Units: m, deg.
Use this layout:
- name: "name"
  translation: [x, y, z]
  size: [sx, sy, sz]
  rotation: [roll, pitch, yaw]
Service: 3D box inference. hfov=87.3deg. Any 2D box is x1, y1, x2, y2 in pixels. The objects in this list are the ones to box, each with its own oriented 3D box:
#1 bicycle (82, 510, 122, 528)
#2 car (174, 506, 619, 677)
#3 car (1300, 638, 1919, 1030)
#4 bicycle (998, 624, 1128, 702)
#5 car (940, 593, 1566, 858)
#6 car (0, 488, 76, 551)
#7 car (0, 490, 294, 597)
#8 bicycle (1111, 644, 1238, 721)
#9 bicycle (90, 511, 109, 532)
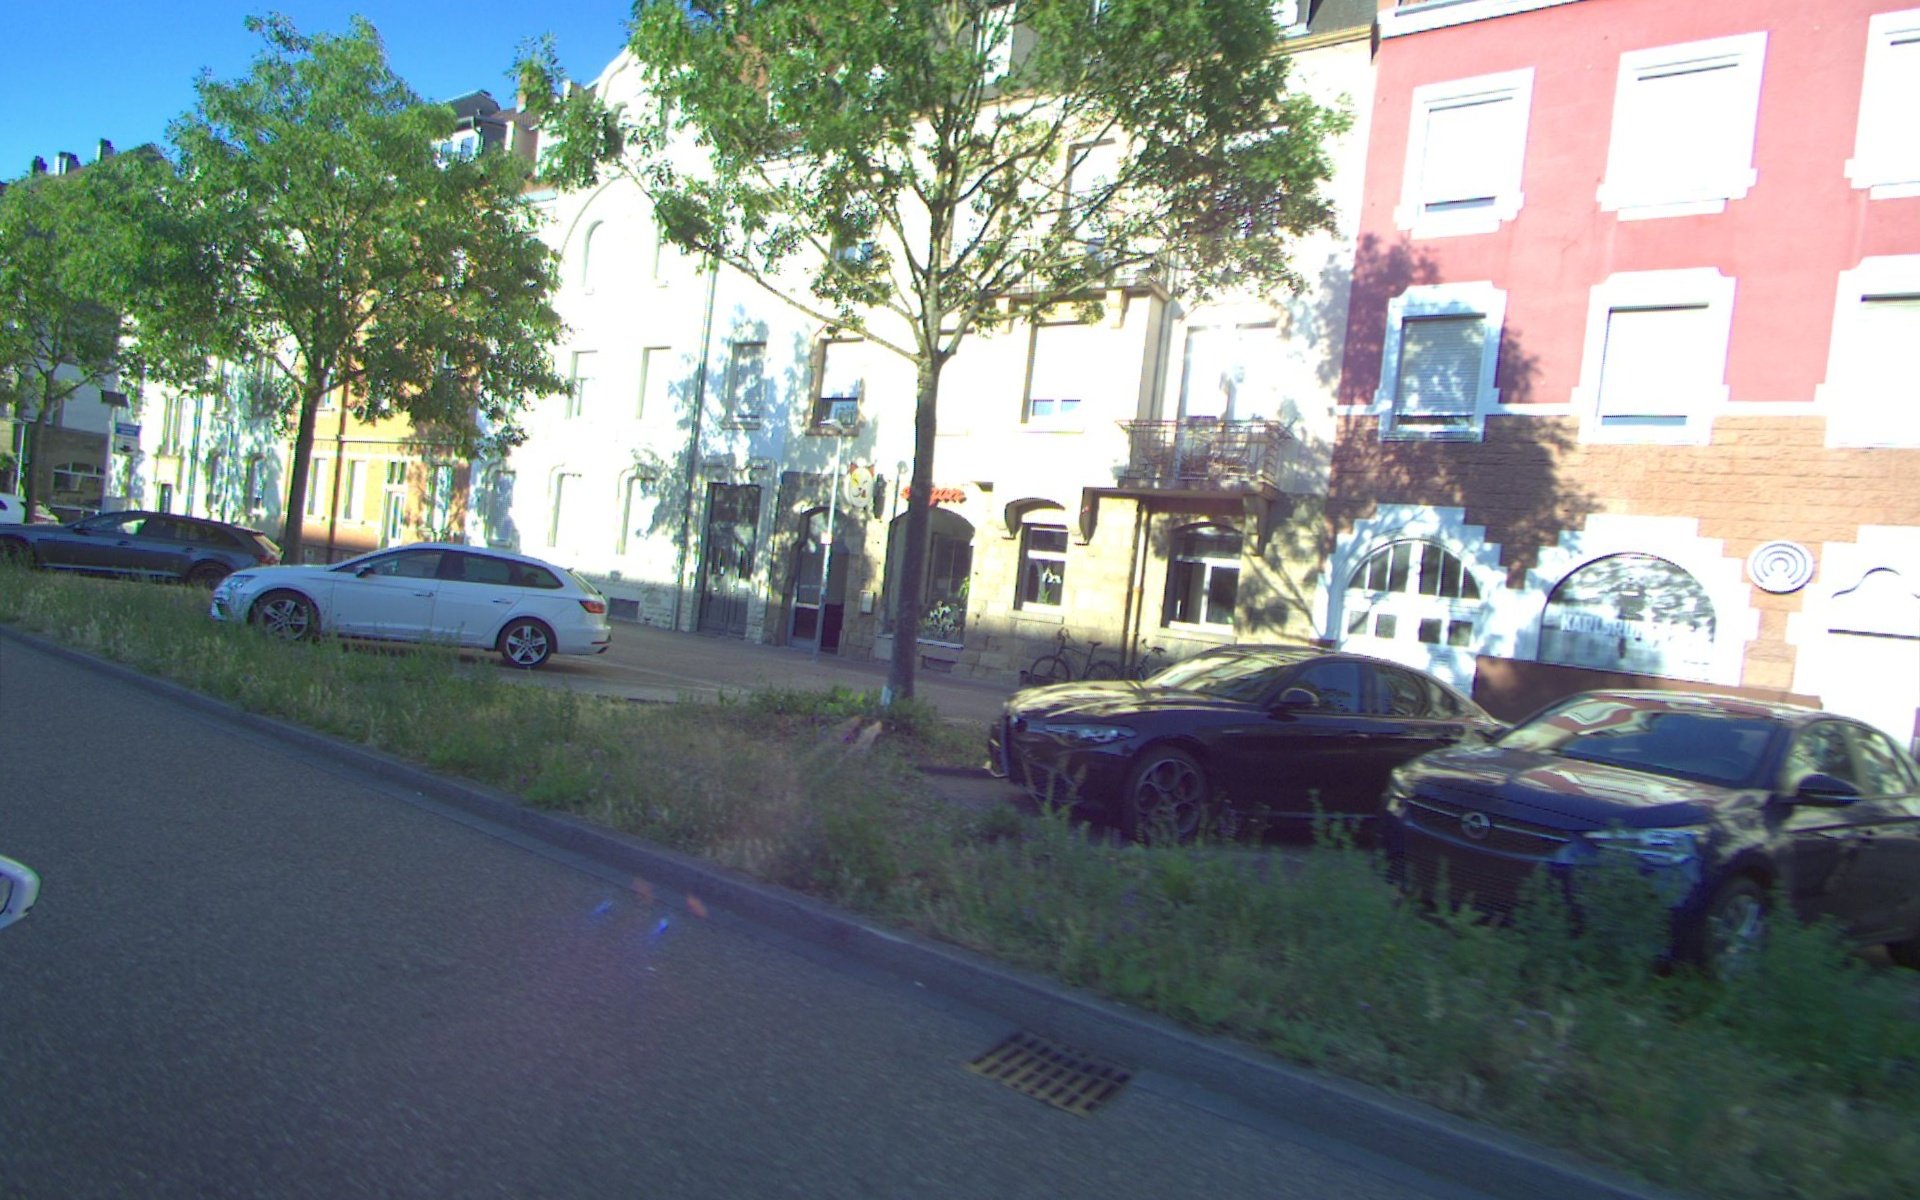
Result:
- name: "bicycle"
  translation: [-47.240, -4.460, 55.424]
  size: [0.522, 0.744, 1.543]
  rotation: [8, 0, 32]
- name: "car"
  translation: [-6.906, -0.061, 12.919]
  size: [4.584, 1.528, 1.837]
  rotation: [7, 0, -23]
- name: "car"
  translation: [4.086, 1.201, 5.779]
  size: [4.009, 1.454, 1.714]
  rotation: [8, -1, -30]
- name: "bicycle"
  translation: [1.809, 1.097, 17.933]
  size: [2.191, 1.093, 0.588]
  rotation: [7, 3, 32]
- name: "car"
  translation: [2.272, 0.976, 7.874]
  size: [4.377, 1.434, 1.875]
  rotation: [8, 0, -22]
- name: "car"
  translation: [-25.504, -2.249, 25.269]
  size: [4.501, 1.417, 2.017]
  rotation: [7, -1, -27]
- name: "car"
  translation: [-14.966, -1.015, 18.195]
  size: [4.525, 1.365, 1.884]
  rotation: [7, 0, -25]
- name: "bicycle"
  translation: [3.566, 1.357, 16.821]
  size: [1.896, 1.003, 0.579]
  rotation: [7, 1, 32]
- name: "bicycle"
  translation: [-45.486, -4.159, 53.151]
  size: [0.626, 0.959, 1.861]
  rotation: [7, 1, -43]
